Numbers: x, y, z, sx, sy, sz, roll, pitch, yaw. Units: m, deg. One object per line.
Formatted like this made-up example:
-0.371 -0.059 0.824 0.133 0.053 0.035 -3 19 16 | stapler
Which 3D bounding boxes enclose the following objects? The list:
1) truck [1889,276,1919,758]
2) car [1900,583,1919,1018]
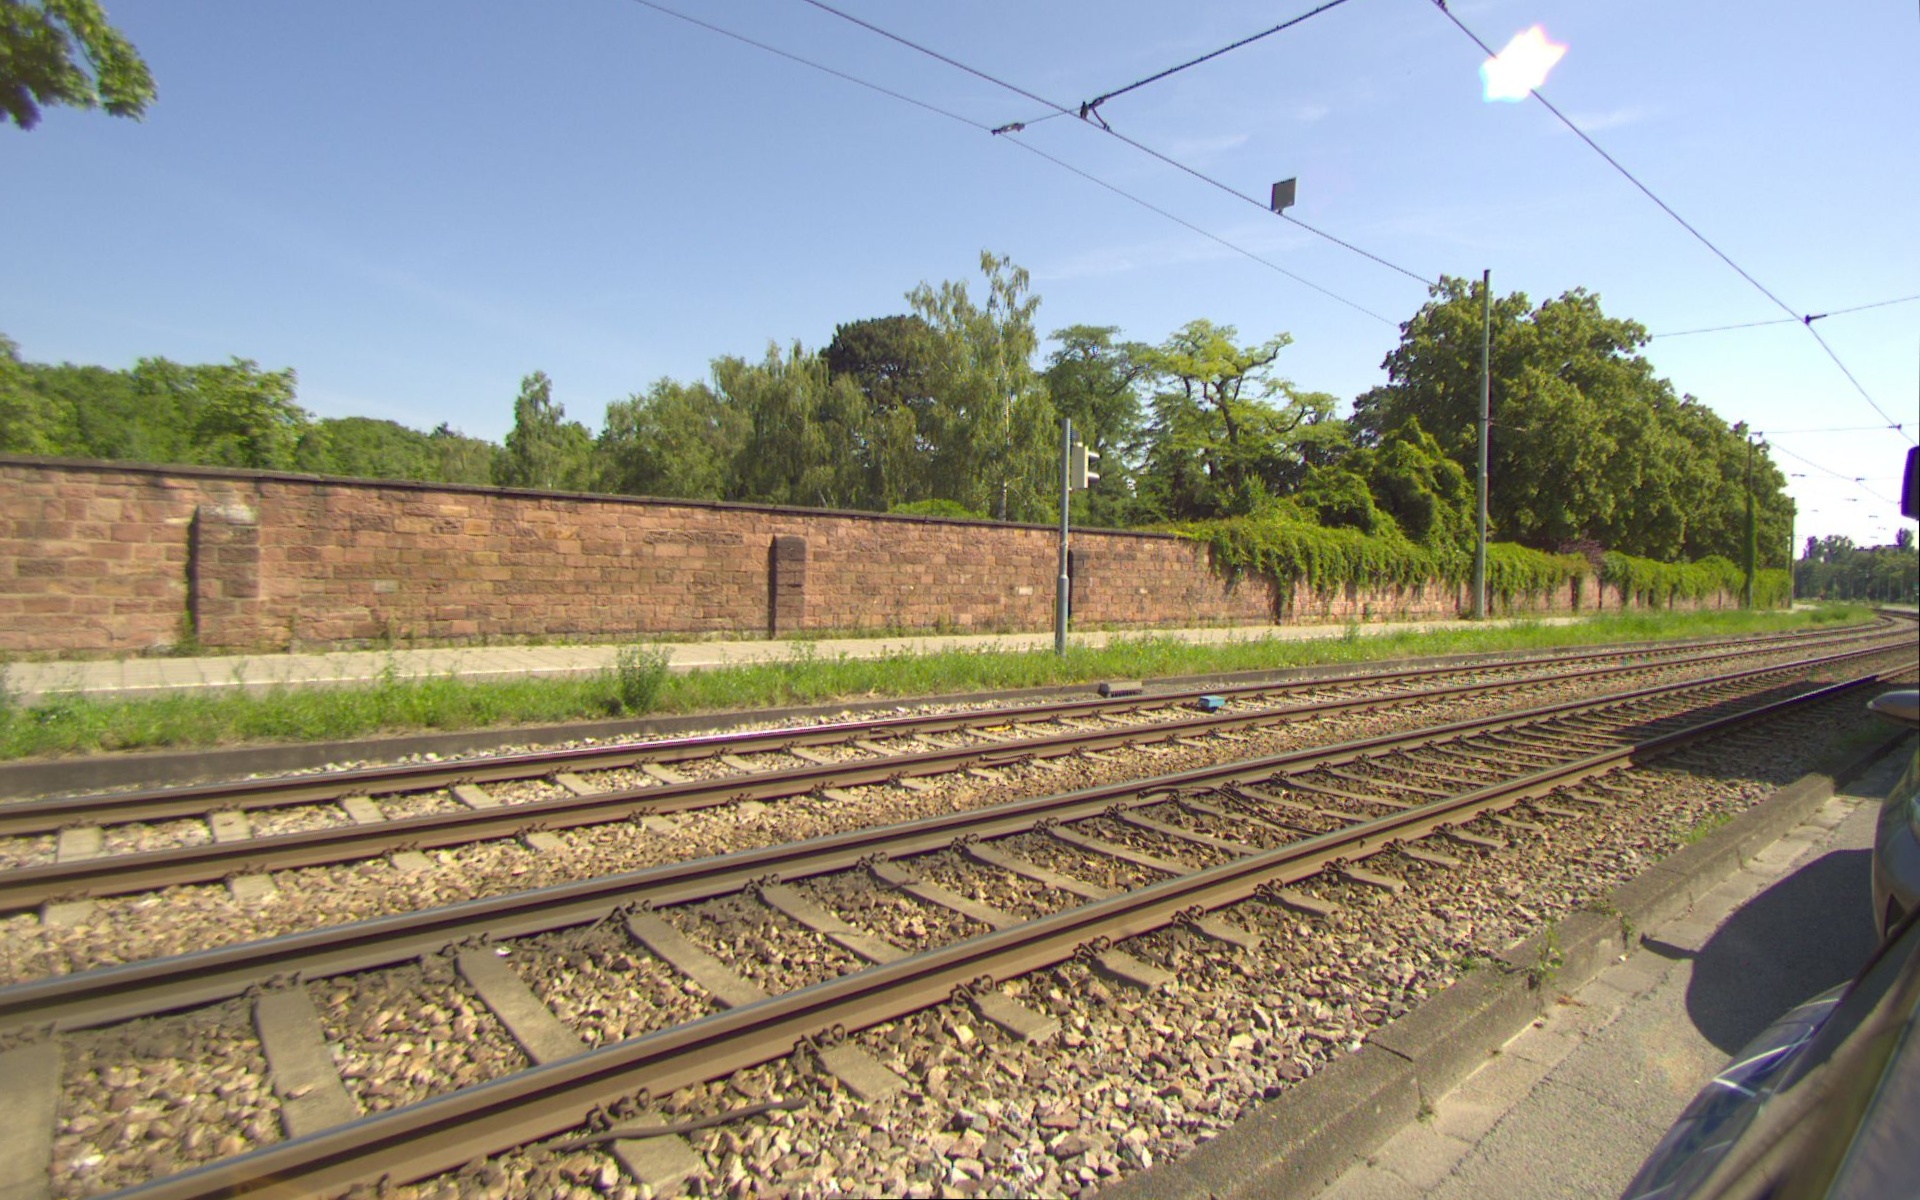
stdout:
14.216 -0.632 12.029 14.652 3.927 2.934 0 2 -41 | truck
5.100 0.666 4.003 3.930 1.448 1.573 0 2 -41 | car
